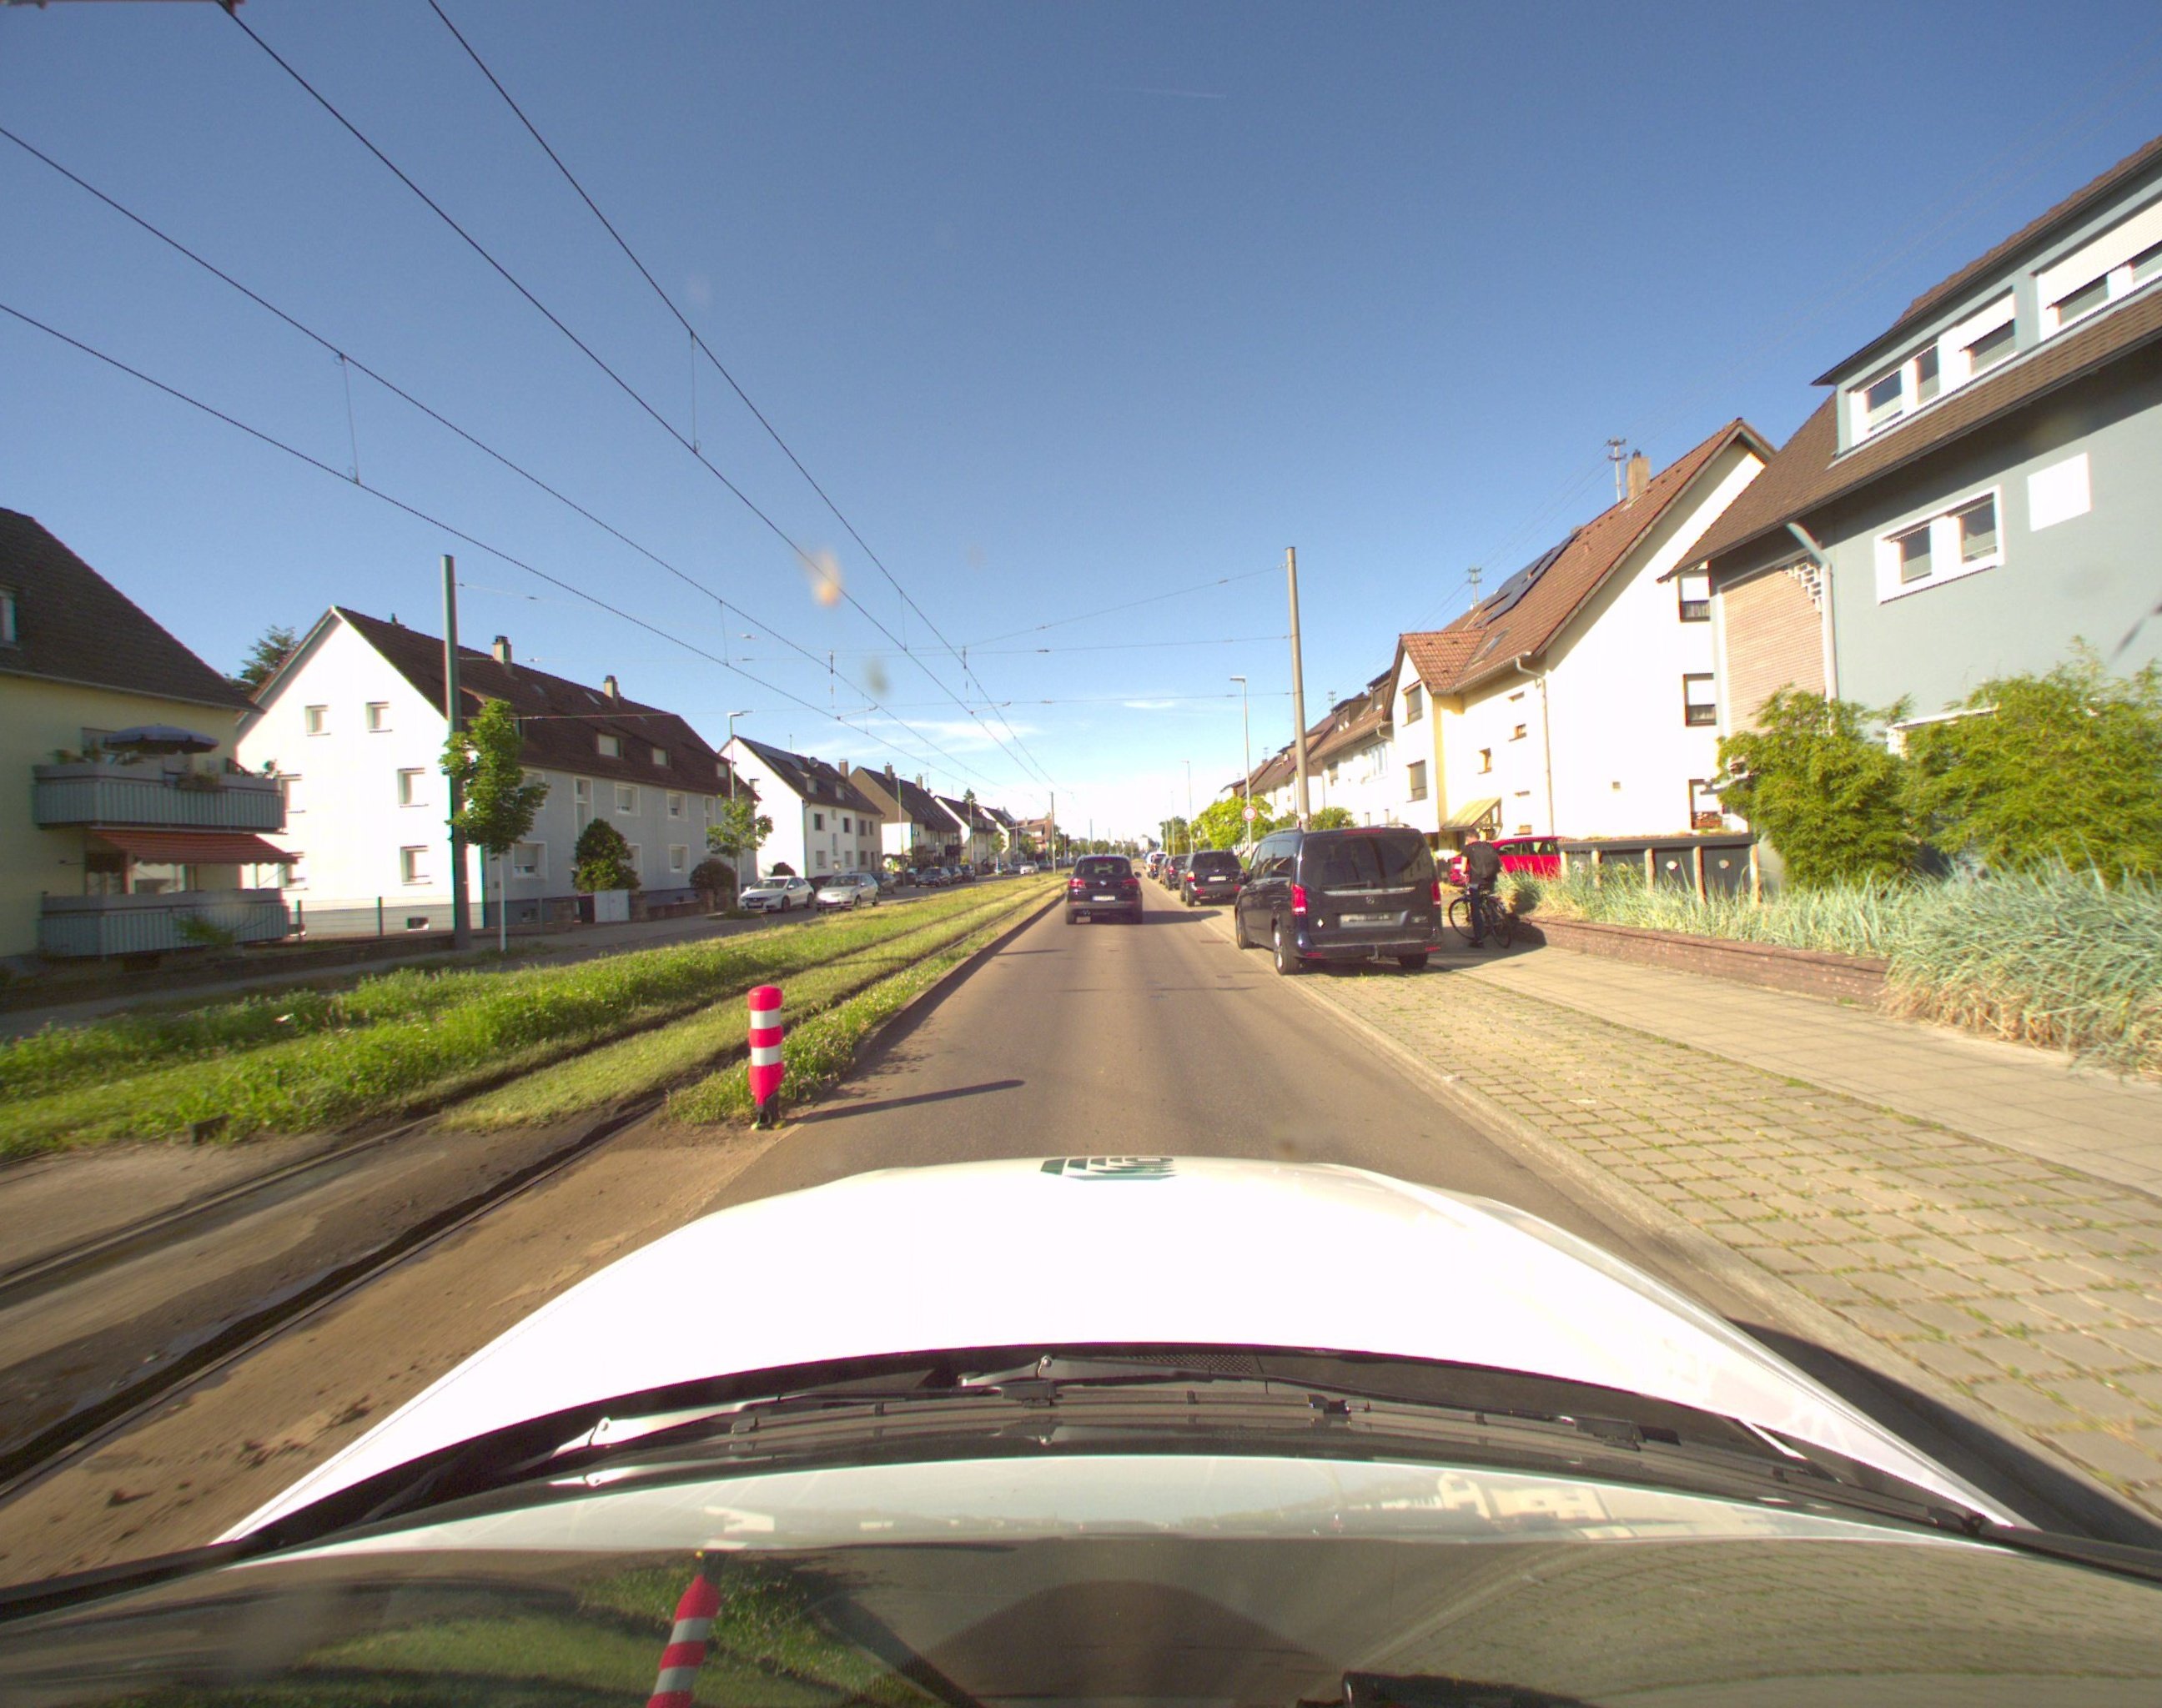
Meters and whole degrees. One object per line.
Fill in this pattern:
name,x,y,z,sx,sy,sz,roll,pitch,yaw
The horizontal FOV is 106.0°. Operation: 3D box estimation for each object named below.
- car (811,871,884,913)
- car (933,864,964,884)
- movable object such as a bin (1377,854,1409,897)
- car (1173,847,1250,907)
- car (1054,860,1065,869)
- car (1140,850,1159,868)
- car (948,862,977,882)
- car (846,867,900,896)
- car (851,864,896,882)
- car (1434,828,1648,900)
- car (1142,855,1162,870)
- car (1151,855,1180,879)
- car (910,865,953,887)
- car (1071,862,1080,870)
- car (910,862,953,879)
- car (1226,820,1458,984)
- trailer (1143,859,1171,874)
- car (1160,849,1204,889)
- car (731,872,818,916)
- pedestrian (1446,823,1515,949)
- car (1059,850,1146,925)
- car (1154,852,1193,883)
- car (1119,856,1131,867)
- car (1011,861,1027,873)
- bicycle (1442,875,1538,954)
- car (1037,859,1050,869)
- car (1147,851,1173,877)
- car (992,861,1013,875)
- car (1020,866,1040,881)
car,-9.159,1.470,32.258,1.543,1.412,3.662,-3,0,4
car,-10.909,1.656,67.204,1.514,1.475,4.205,-3,0,4
movable object such as a bin,8.444,0.589,22.053,0.665,1.114,0.318,-4,-1,3
car,4.062,0.675,25.983,1.847,1.659,4.476,-3,0,2
car,-3.945,1.919,152.250,1.653,1.581,4.003,-3,-2,4
car,7.913,0.566,93.886,1.985,1.862,4.922,-3,0,3
car,-10.556,1.571,72.720,1.797,1.597,4.811,-3,0,0
car,-12.082,1.570,47.645,1.782,1.462,4.170,-3,0,4
car,-22.099,2.057,86.832,4.137,1.654,1.860,-3,0,6
car,11.219,0.225,20.082,4.150,1.467,1.901,-3,0,1
car,7.599,0.950,87.512,1.779,1.441,4.461,-4,0,2
car,5.603,0.864,54.587,1.664,1.453,4.129,-3,-1,3
car,-11.231,1.656,61.695,1.867,1.523,4.888,-2,-1,6
car,-1.196,2.569,174.935,1.459,1.677,3.290,-3,-1,3
car,-15.897,1.771,86.803,4.153,1.616,1.759,-3,0,-1
car,3.519,0.578,12.081,1.954,1.836,4.929,-3,0,2
trailer,6.575,1.079,70.788,2.195,1.094,4.374,-4,0,2
car,4.478,0.649,36.575,1.659,1.547,3.839,-5,0,4
car,-12.553,1.611,33.673,1.685,1.518,4.218,-3,0,4
pedestrian,5.729,0.446,11.720,0.580,1.723,0.715,-3,-1,3
car,0.433,0.797,20.764,1.808,1.671,4.251,-1,-1,-4
car,4.806,0.703,42.886,1.610,1.475,4.450,-3,-1,1
car,5.912,1.031,109.665,1.566,1.391,3.617,-3,0,3
car,-8.110,1.738,106.853,1.611,1.409,3.721,-3,-2,4
bicycle,5.750,0.819,11.538,0.598,0.979,1.564,-4,-1,4
car,-6.017,1.530,129.942,1.652,1.496,3.583,-3,0,4
car,5.834,0.748,60.557,1.682,1.776,4.660,-3,0,4
car,-9.054,1.653,94.126,1.609,1.453,3.726,-3,0,8
car,-5.718,2.226,92.083,1.700,1.490,4.027,-3,-2,4
